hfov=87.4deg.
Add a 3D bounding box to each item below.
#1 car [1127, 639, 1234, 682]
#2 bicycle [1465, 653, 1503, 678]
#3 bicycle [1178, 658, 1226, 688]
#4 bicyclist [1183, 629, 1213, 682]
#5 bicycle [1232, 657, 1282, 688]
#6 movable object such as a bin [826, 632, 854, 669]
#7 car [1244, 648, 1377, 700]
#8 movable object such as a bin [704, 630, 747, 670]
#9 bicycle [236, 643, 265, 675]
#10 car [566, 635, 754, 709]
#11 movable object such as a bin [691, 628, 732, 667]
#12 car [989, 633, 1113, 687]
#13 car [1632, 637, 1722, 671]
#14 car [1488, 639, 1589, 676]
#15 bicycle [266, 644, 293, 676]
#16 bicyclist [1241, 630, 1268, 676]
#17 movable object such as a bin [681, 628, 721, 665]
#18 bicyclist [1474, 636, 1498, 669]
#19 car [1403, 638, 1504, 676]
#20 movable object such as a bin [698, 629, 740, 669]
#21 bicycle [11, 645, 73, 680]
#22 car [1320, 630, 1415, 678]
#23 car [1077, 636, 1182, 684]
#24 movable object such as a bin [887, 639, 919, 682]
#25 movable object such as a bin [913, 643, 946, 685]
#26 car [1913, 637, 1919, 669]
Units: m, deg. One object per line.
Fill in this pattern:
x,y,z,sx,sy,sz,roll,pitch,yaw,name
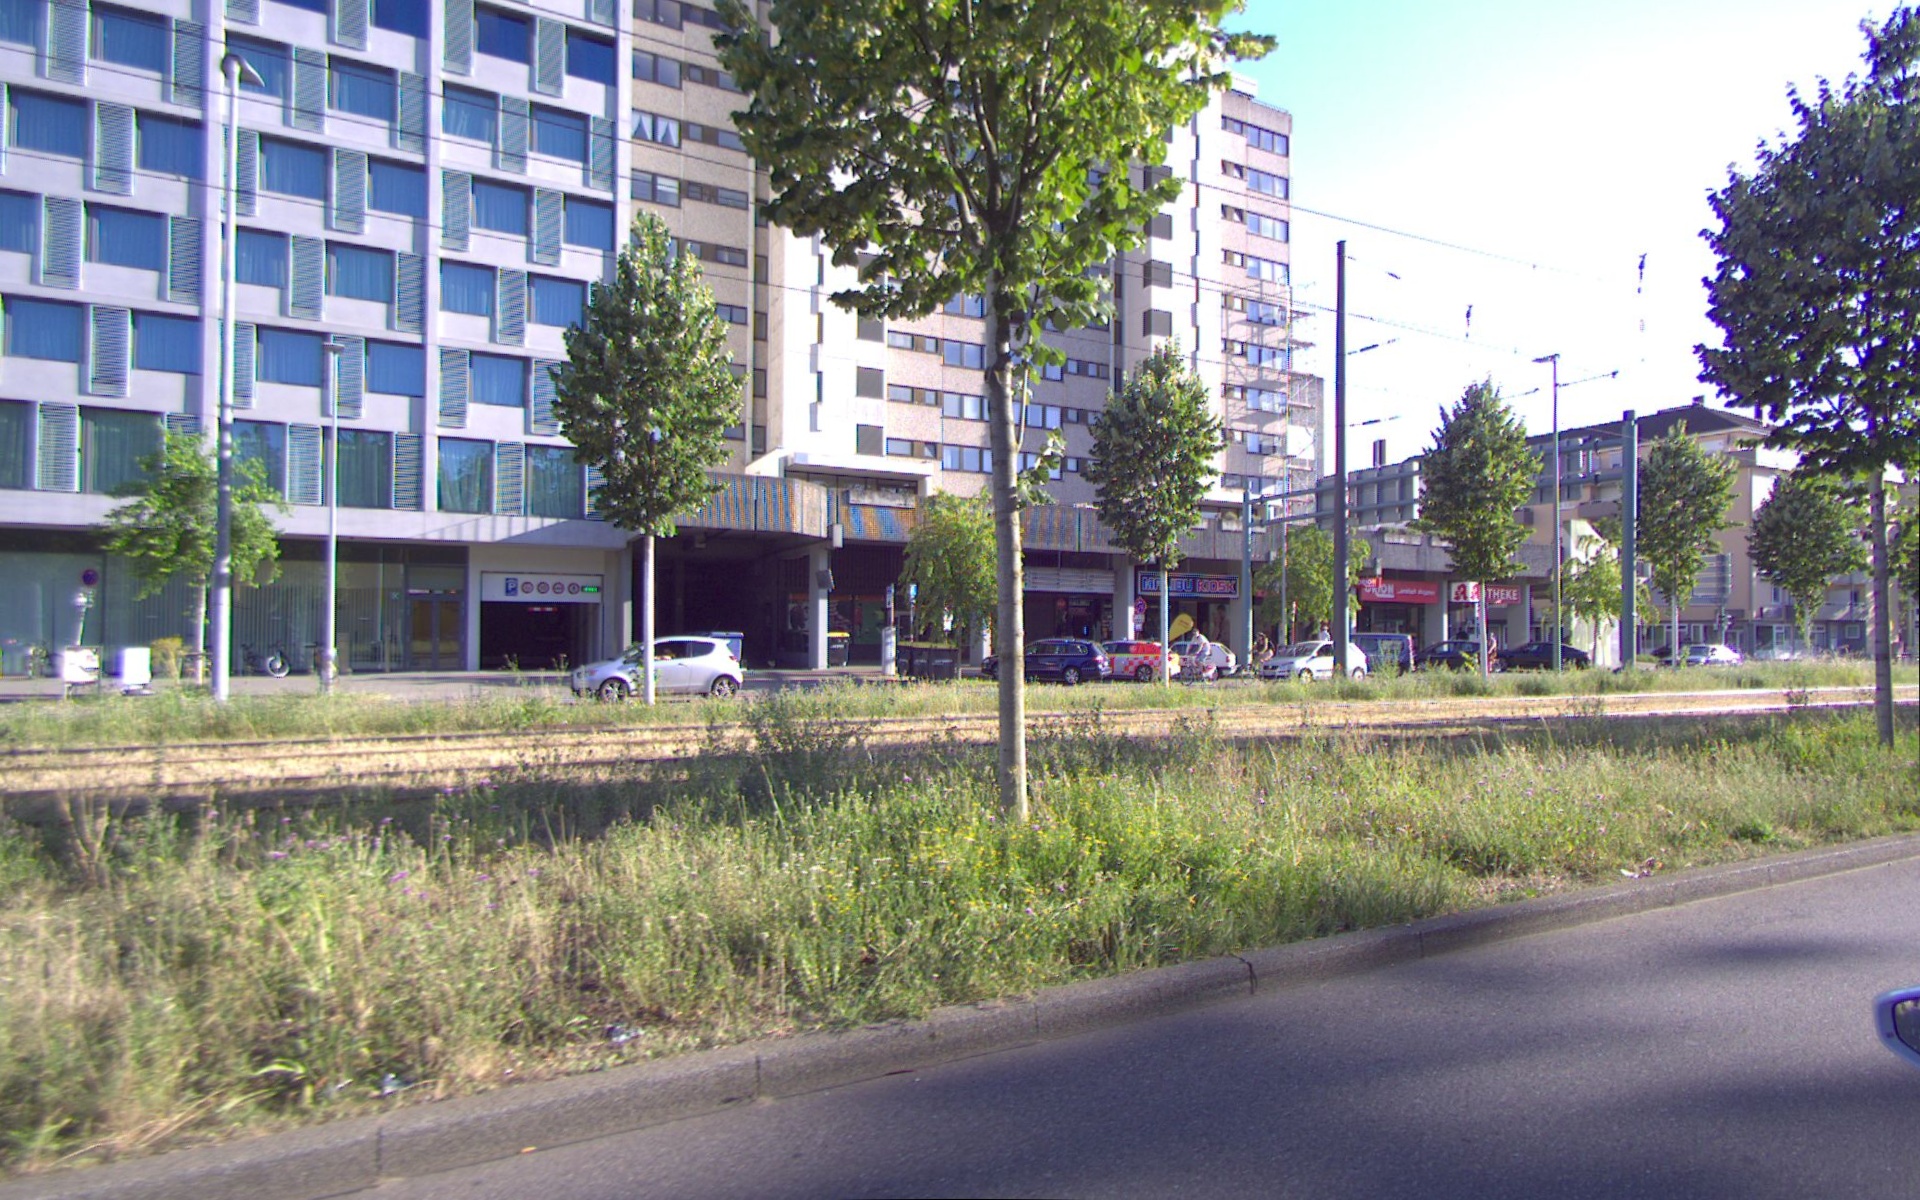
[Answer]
8.523,2.316,38.801,3.919,1.472,1.787,1,-1,15,car
22.044,2.749,42.238,1.697,0.976,0.604,1,-1,-30,bicycle
8.421,2.532,34.926,1.691,1.006,0.541,1,-1,-30,bicycle
8.260,1.913,34.827,0.848,1.812,0.537,1,0,-30,bicyclist
10.350,2.512,34.962,1.768,1.053,0.552,1,0,-27,bicycle
-4.634,1.945,38.794,0.857,1.389,0.819,1,-2,-27,movable object such as a bin
11.469,2.373,32.828,3.947,1.535,1.880,1,-1,-26,car
-8.642,1.830,37.017,1.385,1.459,0.797,1,-2,-27,movable object such as a bin
-21.388,1.772,30.314,0.506,0.917,1.796,1,-2,-29,bicycle
-6.952,1.607,23.272,3.947,1.535,1.880,1,-1,-26,car
-9.602,1.833,38.792,1.385,1.459,0.797,1,-2,-27,movable object such as a bin
3.243,2.091,35.627,4.017,1.622,1.749,2,1,22,car
31.590,2.367,44.244,3.644,1.415,1.924,1,-2,-30,car
27.866,2.760,48.521,3.922,1.584,2.000,1,-1,21,car
-20.679,1.802,30.544,0.506,0.917,1.796,1,-2,-29,bicycle
10.219,1.834,34.880,0.673,1.565,0.549,1,0,-26,bicyclist
-10.303,1.849,39.937,1.385,1.459,0.938,1,-2,-27,movable object such as a bin
22.129,2.214,42.276,0.751,1.373,0.589,1,0,-30,bicyclist
23.075,2.629,47.149,3.919,1.595,2.001,1,-1,15,car
-9.069,1.831,37.775,1.385,1.459,0.797,1,-2,-27,movable object such as a bin
-25.393,1.712,27.826,0.503,0.917,1.804,1,-2,-16,bicycle
17.530,2.287,43.283,3.687,1.853,1.824,1,-1,23,car
6.286,2.188,37.275,3.555,1.543,1.620,2,0,22,car
-1.893,2.007,33.485,0.923,1.375,0.858,1,-2,-13,movable object such as a bin
-0.998,2.057,32.393,0.923,1.297,0.858,1,-2,-13,movable object such as a bin
52.555,2.822,53.189,3.949,1.661,1.878,1,-2,-28,car
